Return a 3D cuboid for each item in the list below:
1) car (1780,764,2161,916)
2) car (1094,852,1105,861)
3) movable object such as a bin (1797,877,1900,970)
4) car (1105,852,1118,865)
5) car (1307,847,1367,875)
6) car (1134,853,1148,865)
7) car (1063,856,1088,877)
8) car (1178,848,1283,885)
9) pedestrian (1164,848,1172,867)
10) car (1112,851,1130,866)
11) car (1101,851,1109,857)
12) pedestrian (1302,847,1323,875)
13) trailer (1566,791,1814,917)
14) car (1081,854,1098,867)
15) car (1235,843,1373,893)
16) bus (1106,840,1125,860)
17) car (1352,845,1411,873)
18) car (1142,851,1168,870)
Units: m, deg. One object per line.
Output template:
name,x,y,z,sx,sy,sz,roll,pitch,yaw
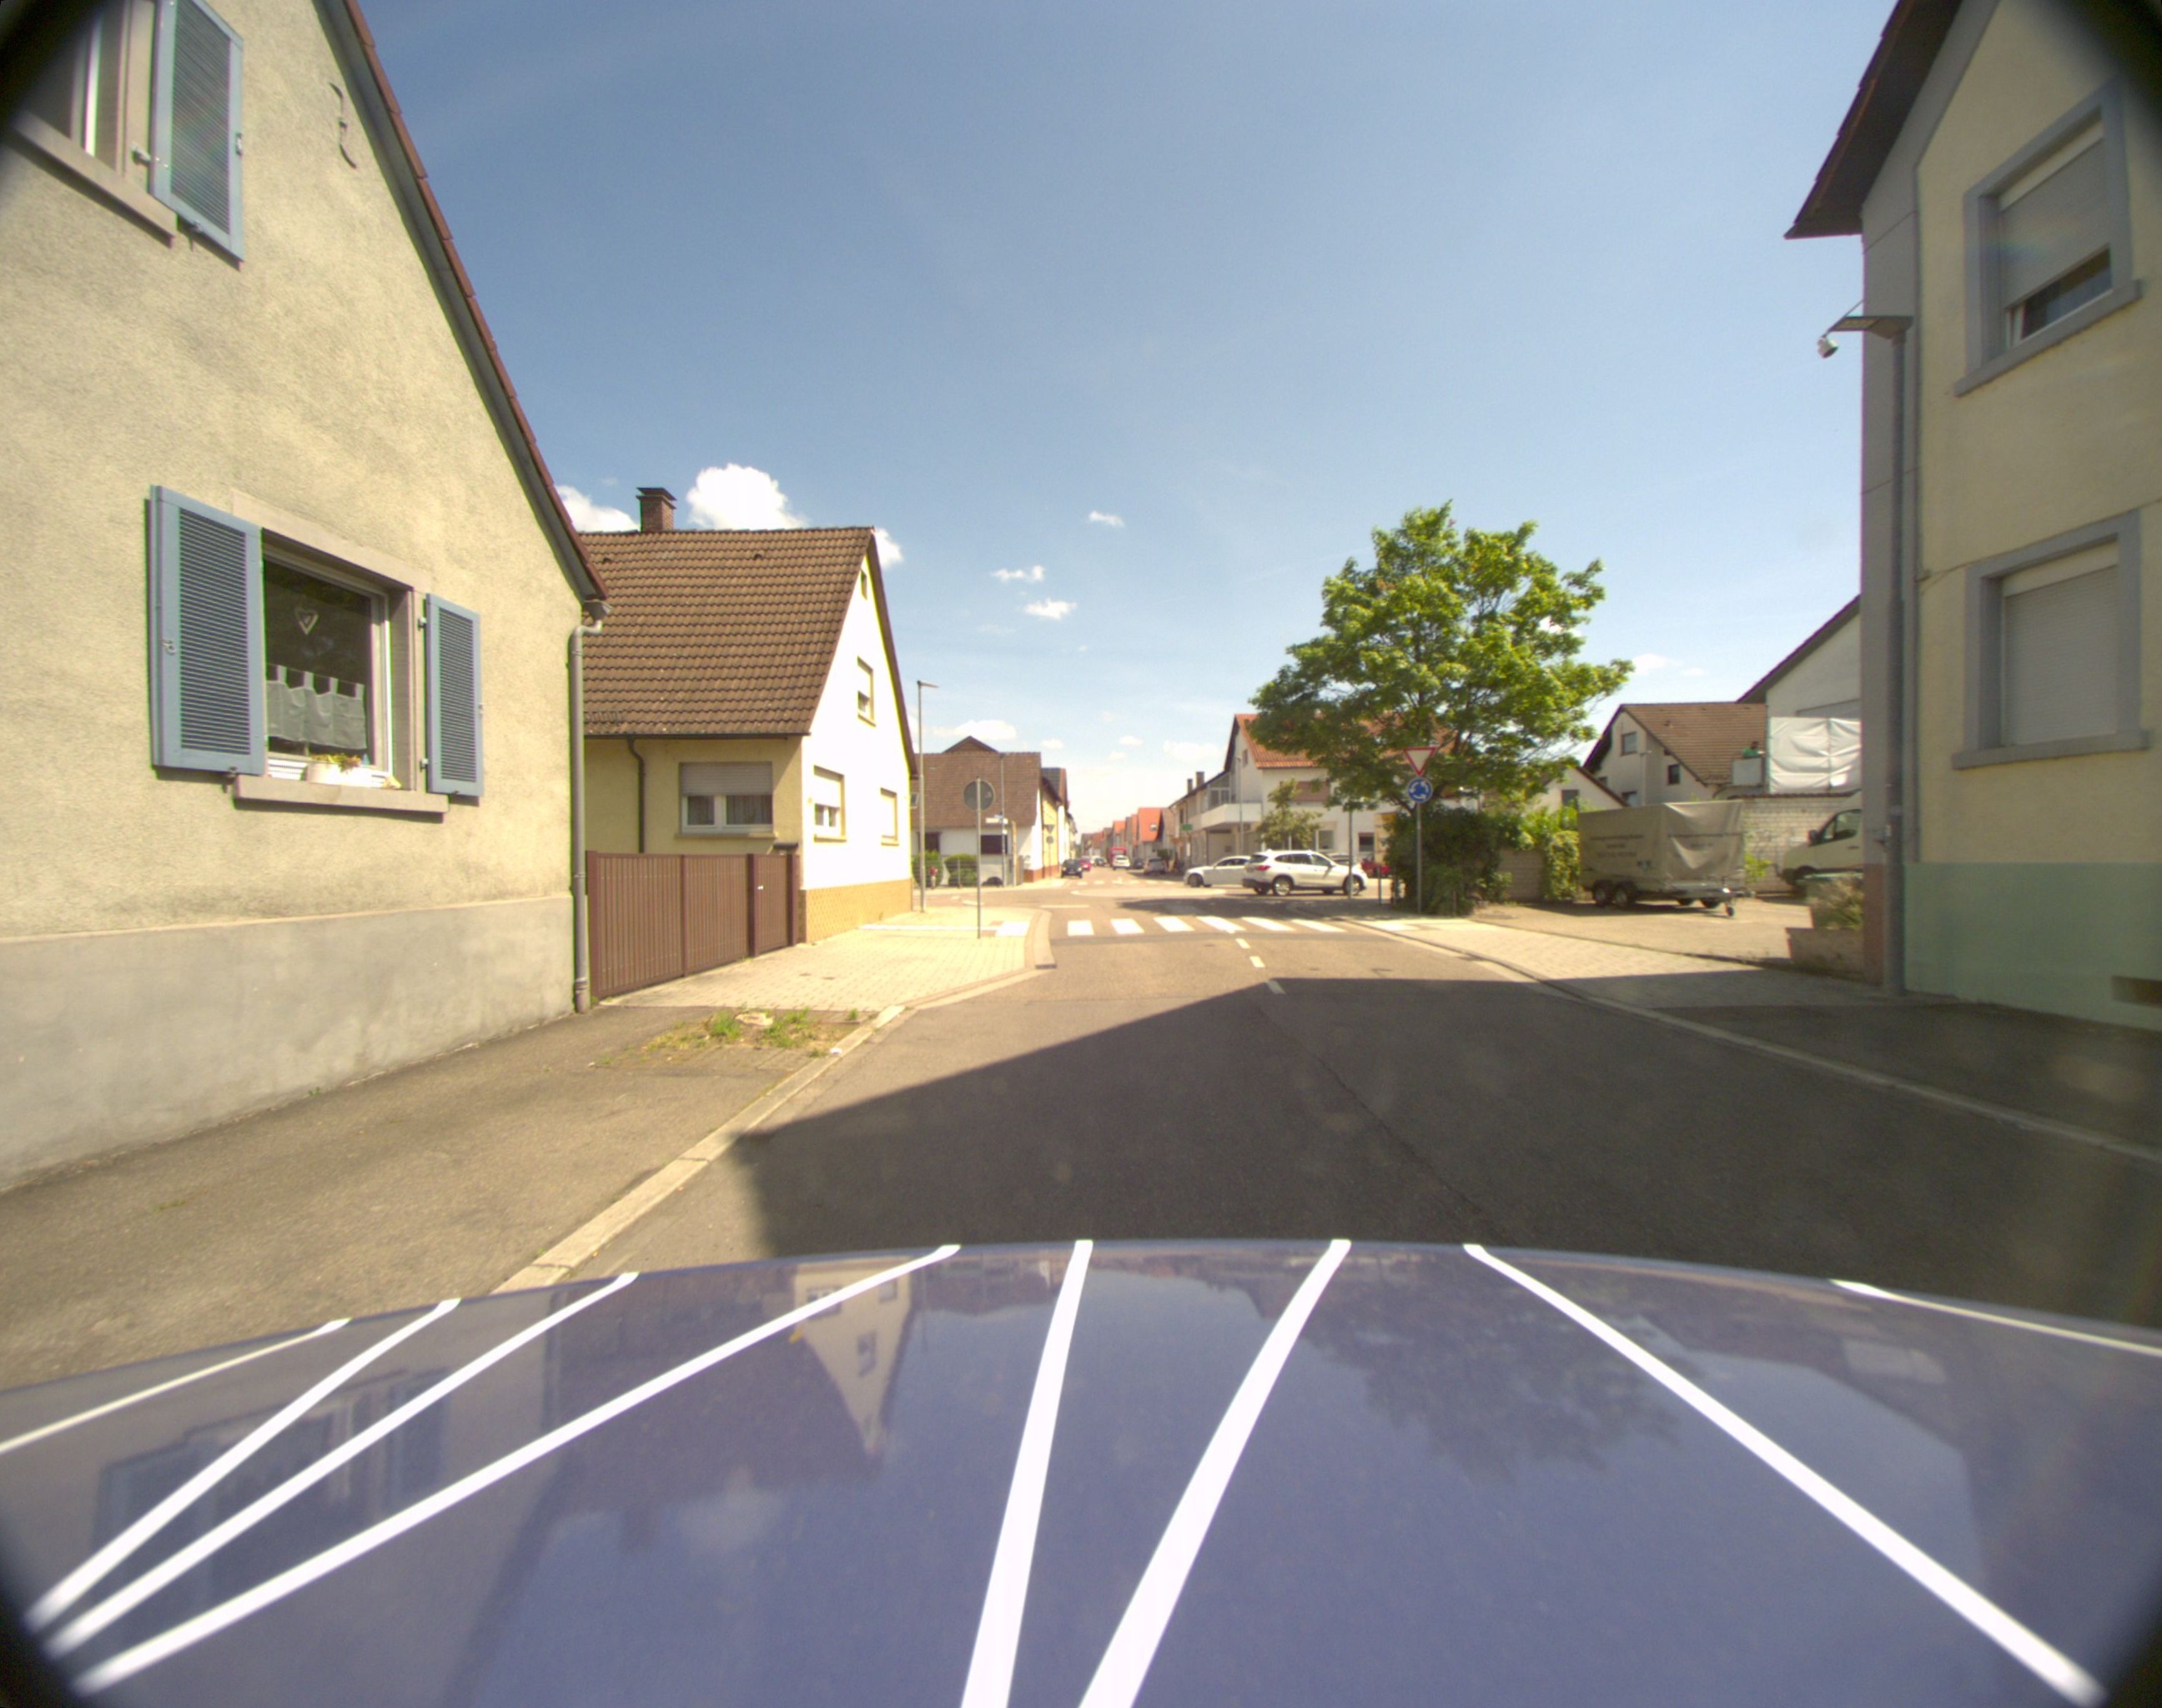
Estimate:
car,18.143,-0.256,15.877,1.941,2.552,5.647,-3,0,2
car,3.213,0.457,132.058,1.765,1.420,4.188,-1,0,-2
movable object such as a bin,9.326,0.826,9.253,0.601,1.072,0.658,-1,1,4
car,4.354,0.639,109.742,1.776,1.810,4.442,0,0,0
car,14.243,0.366,42.561,1.834,1.442,4.478,-1,1,0
car,7.576,0.616,96.205,1.457,1.362,3.384,-4,0,2
car,-0.383,0.920,56.932,1.690,1.454,3.629,1,0,1
car,6.773,0.612,34.390,4.325,1.439,1.885,-3,-3,22
pedestrian,8.410,0.326,73.467,0.578,1.780,0.693,-3,1,1
car,4.738,0.518,89.716,1.870,1.700,4.542,-1,0,0
car,6.248,-0.004,194.989,1.765,1.420,3.852,-1,0,-2
pedestrian,13.843,0.415,45.387,0.956,1.574,0.757,-3,1,2
trailer,13.058,0.000,16.754,1.883,2.322,4.524,-3,0,2
car,0.969,0.746,85.289,1.764,1.420,4.189,-1,0,1
car,7.942,0.470,27.213,4.375,1.635,1.844,-1,0,-11
bus,5.664,-0.665,125.960,2.633,3.213,12.022,-1,0,1
car,16.842,0.229,42.729,1.751,1.468,3.963,-1,1,0
car,6.539,0.569,67.546,1.748,1.507,3.999,-5,1,0
